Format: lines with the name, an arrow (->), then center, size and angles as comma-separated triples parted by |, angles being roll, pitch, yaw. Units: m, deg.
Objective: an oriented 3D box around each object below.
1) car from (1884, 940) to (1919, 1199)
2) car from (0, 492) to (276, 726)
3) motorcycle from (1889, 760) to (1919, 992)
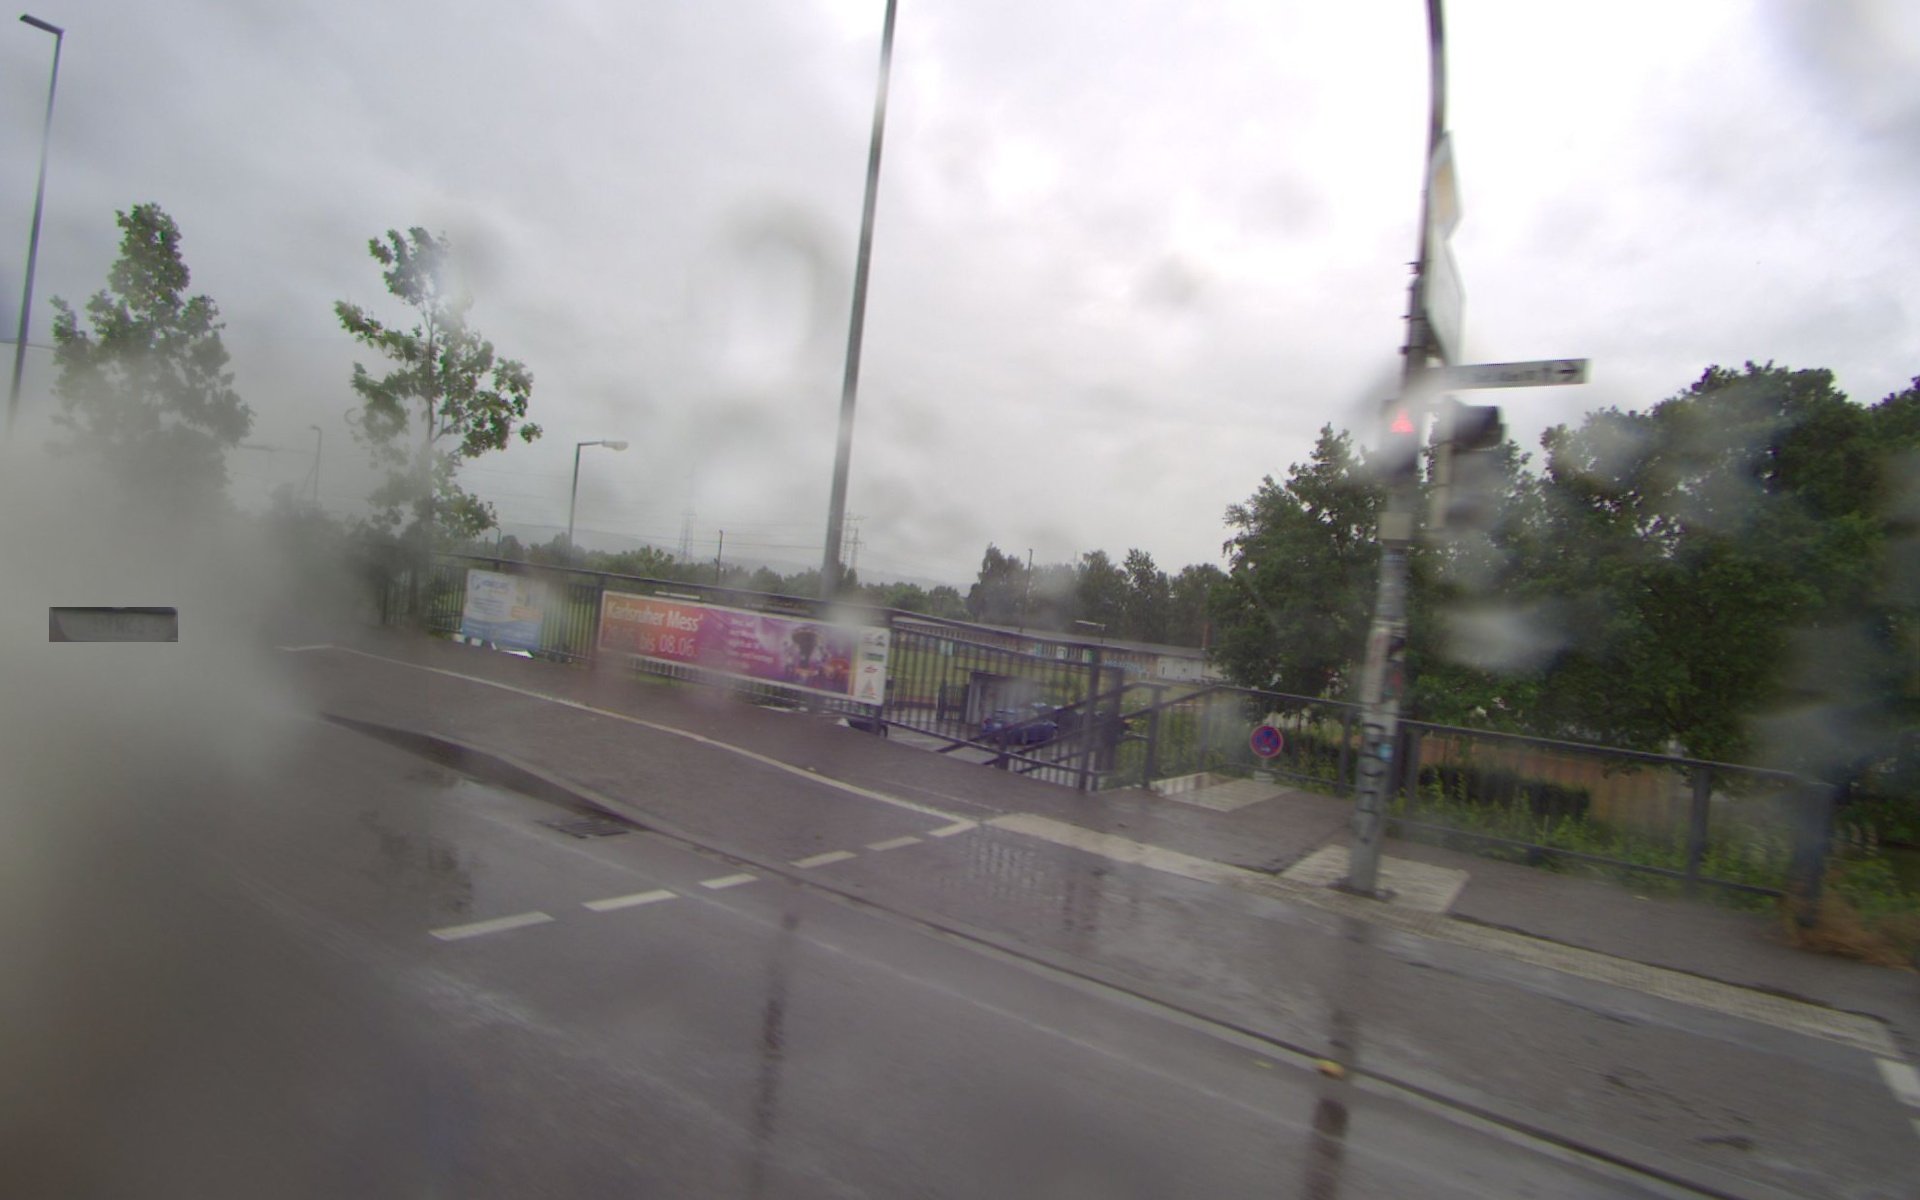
car -> 3.476, 1.226, 0.588 | 4.027, 1.478, 1.774 | 8, -1, 34
car -> -7.169, -0.075, 7.699 | 3.792, 1.430, 1.794 | 7, -1, 33
motorcycle -> 5.908, 1.589, 5.249 | 0.630, 1.234, 1.429 | 5, 2, -45
